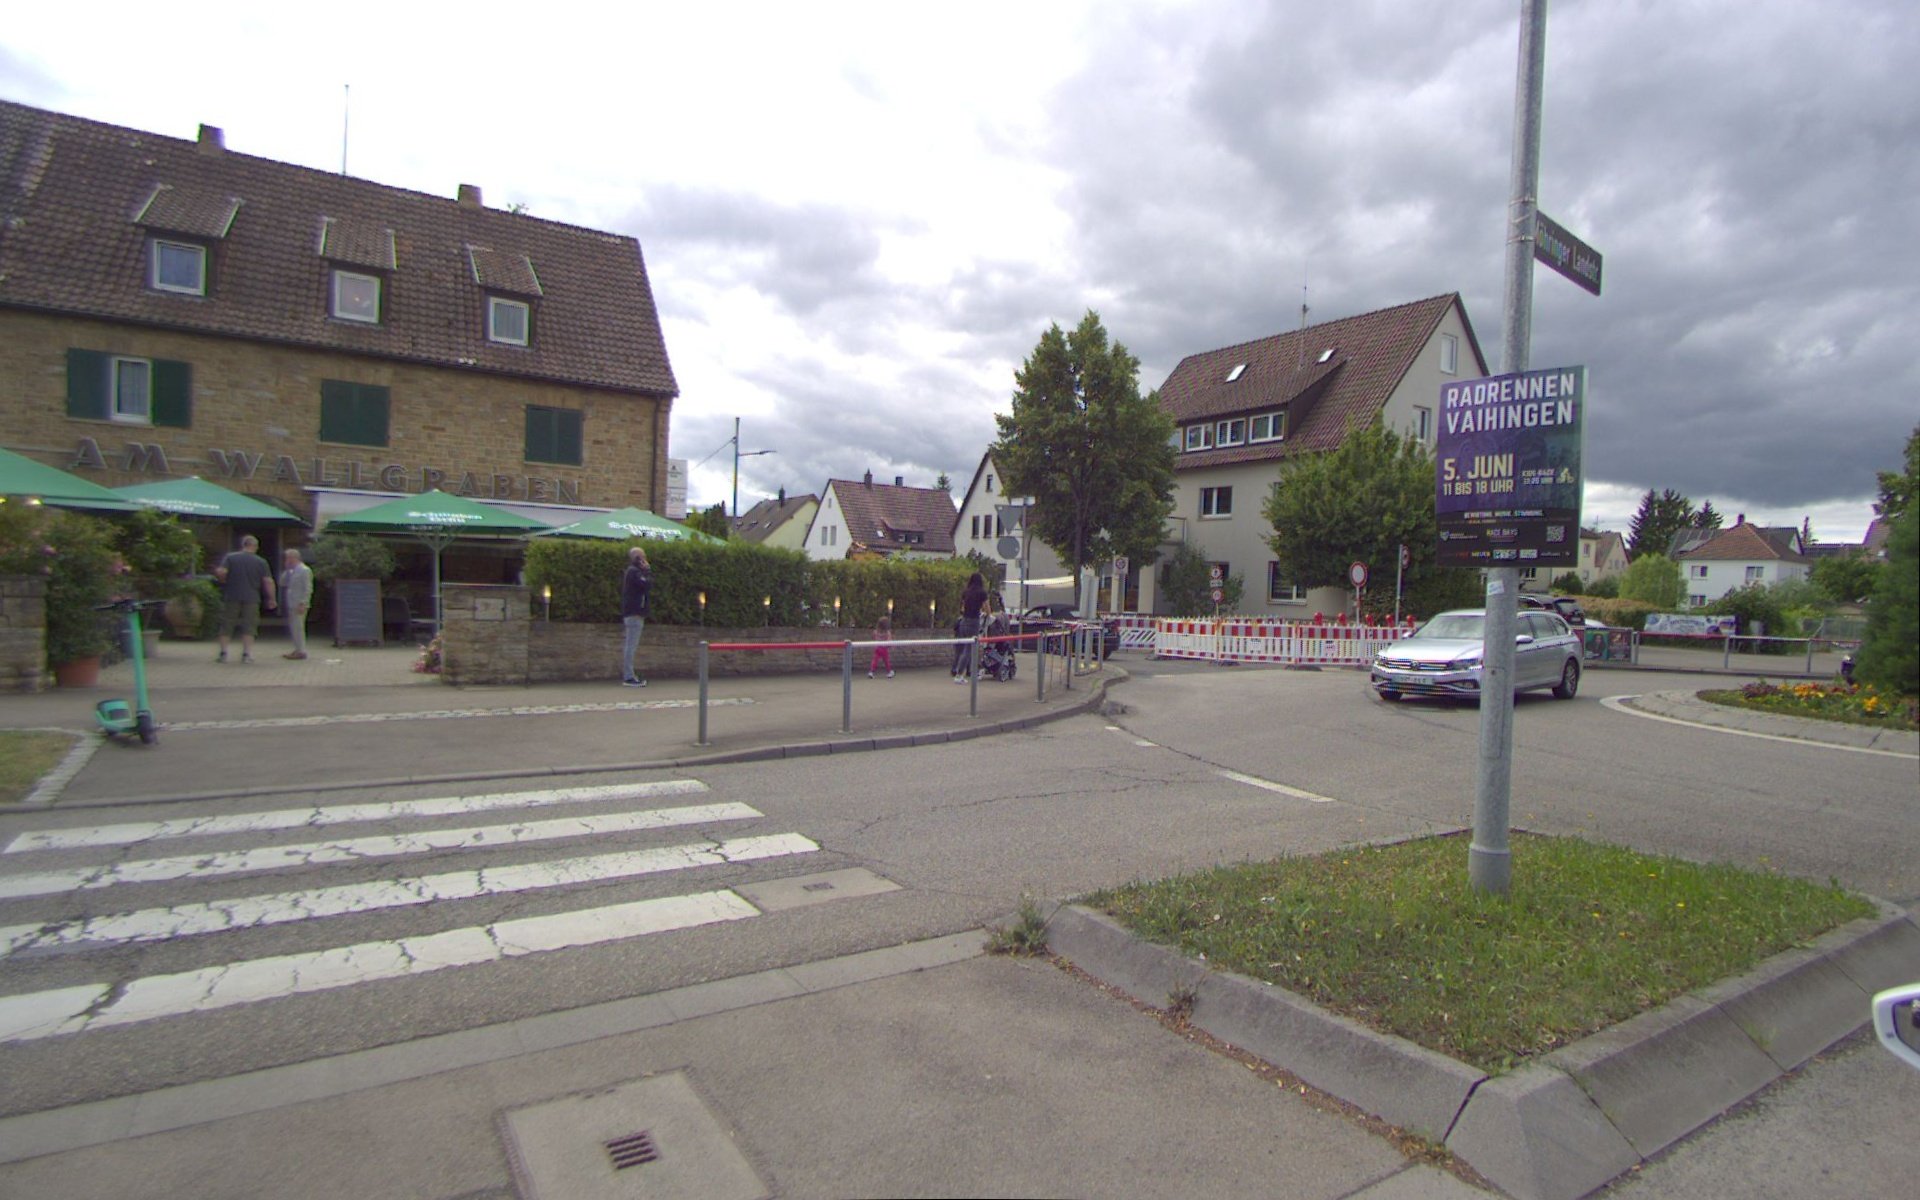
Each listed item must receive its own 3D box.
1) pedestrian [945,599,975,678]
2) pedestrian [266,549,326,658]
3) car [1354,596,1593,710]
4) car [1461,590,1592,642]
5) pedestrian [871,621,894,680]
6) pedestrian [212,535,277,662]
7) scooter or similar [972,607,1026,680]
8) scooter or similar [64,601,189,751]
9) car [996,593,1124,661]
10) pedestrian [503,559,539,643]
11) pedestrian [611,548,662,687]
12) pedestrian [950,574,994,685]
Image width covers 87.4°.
[{"bbox_3d":[0.001,0.619,16.460,0.336,1.261,0.354,2,1,26],"label":"pedestrian"},{"bbox_3d":[-10.322,0.054,15.620,0.605,1.665,0.454,2,1,-4],"label":"pedestrian"},{"bbox_3d":[8.386,0.790,16.272,4.222,1.581,1.854,1,1,-39],"label":"car"},{"bbox_3d":[19.200,0.525,34.174,1.580,1.632,3.574,1,1,-27],"label":"car"},{"bbox_3d":[-1.203,0.784,15.674,0.234,0.906,0.259,3,1,25],"label":"pedestrian"},{"bbox_3d":[-10.480,-0.026,14.728,0.742,1.808,0.566,1,1,-36],"label":"pedestrian"},{"bbox_3d":[0.640,0.688,16.326,0.400,1.110,0.967,5,3,31],"label":"scooter or similar"},{"bbox_3d":[-6.980,0.599,8.397,1.264,1.154,0.347,2,1,28],"label":"scooter or similar"},{"bbox_3d":[2.654,0.698,27.331,1.557,1.656,3.589,1,1,-33],"label":"car"},{"bbox_3d":[-9.595,0.024,21.971,0.562,1.808,0.642,1,1,-13],"label":"pedestrian"},{"bbox_3d":[-4.341,0.227,13.471,0.534,1.808,0.558,1,1,-28],"label":"pedestrian"},{"bbox_3d":[0.195,0.449,15.663,0.474,1.692,0.515,2,1,25],"label":"pedestrian"}]
